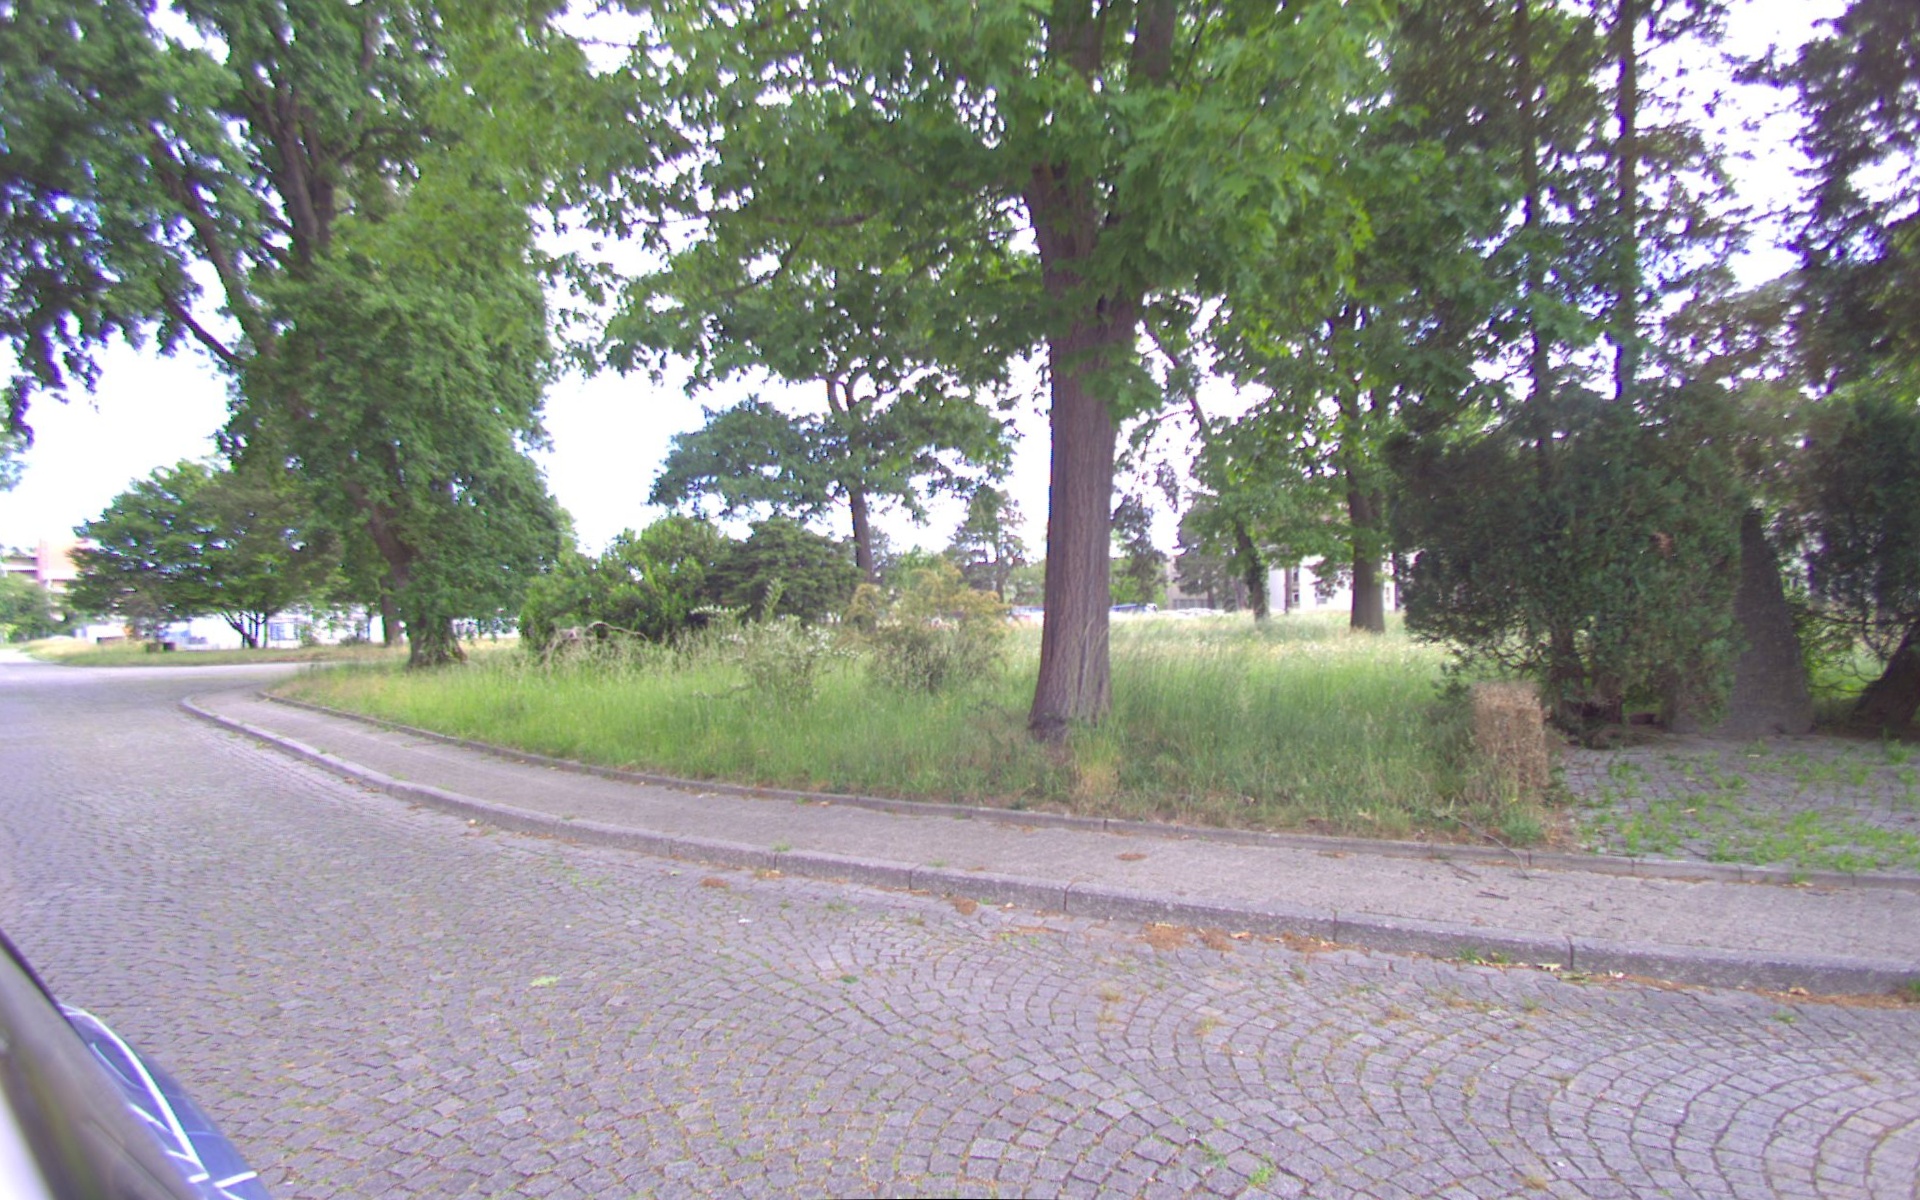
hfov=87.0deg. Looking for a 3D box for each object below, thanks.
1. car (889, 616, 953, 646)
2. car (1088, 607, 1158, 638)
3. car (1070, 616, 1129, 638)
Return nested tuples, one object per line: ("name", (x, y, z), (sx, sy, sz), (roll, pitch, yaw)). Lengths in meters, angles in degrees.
("car", (-2.182, 1.754, 56.547), (3.501, 1.493, 1.579), (-5, -3, 45))
("car", (11.238, 1.549, 69.916), (4.547, 1.916, 1.767), (-5, -3, 45))
("car", (9.392, 1.824, 68.251), (3.696, 1.349, 1.561), (-5, -3, 45))
